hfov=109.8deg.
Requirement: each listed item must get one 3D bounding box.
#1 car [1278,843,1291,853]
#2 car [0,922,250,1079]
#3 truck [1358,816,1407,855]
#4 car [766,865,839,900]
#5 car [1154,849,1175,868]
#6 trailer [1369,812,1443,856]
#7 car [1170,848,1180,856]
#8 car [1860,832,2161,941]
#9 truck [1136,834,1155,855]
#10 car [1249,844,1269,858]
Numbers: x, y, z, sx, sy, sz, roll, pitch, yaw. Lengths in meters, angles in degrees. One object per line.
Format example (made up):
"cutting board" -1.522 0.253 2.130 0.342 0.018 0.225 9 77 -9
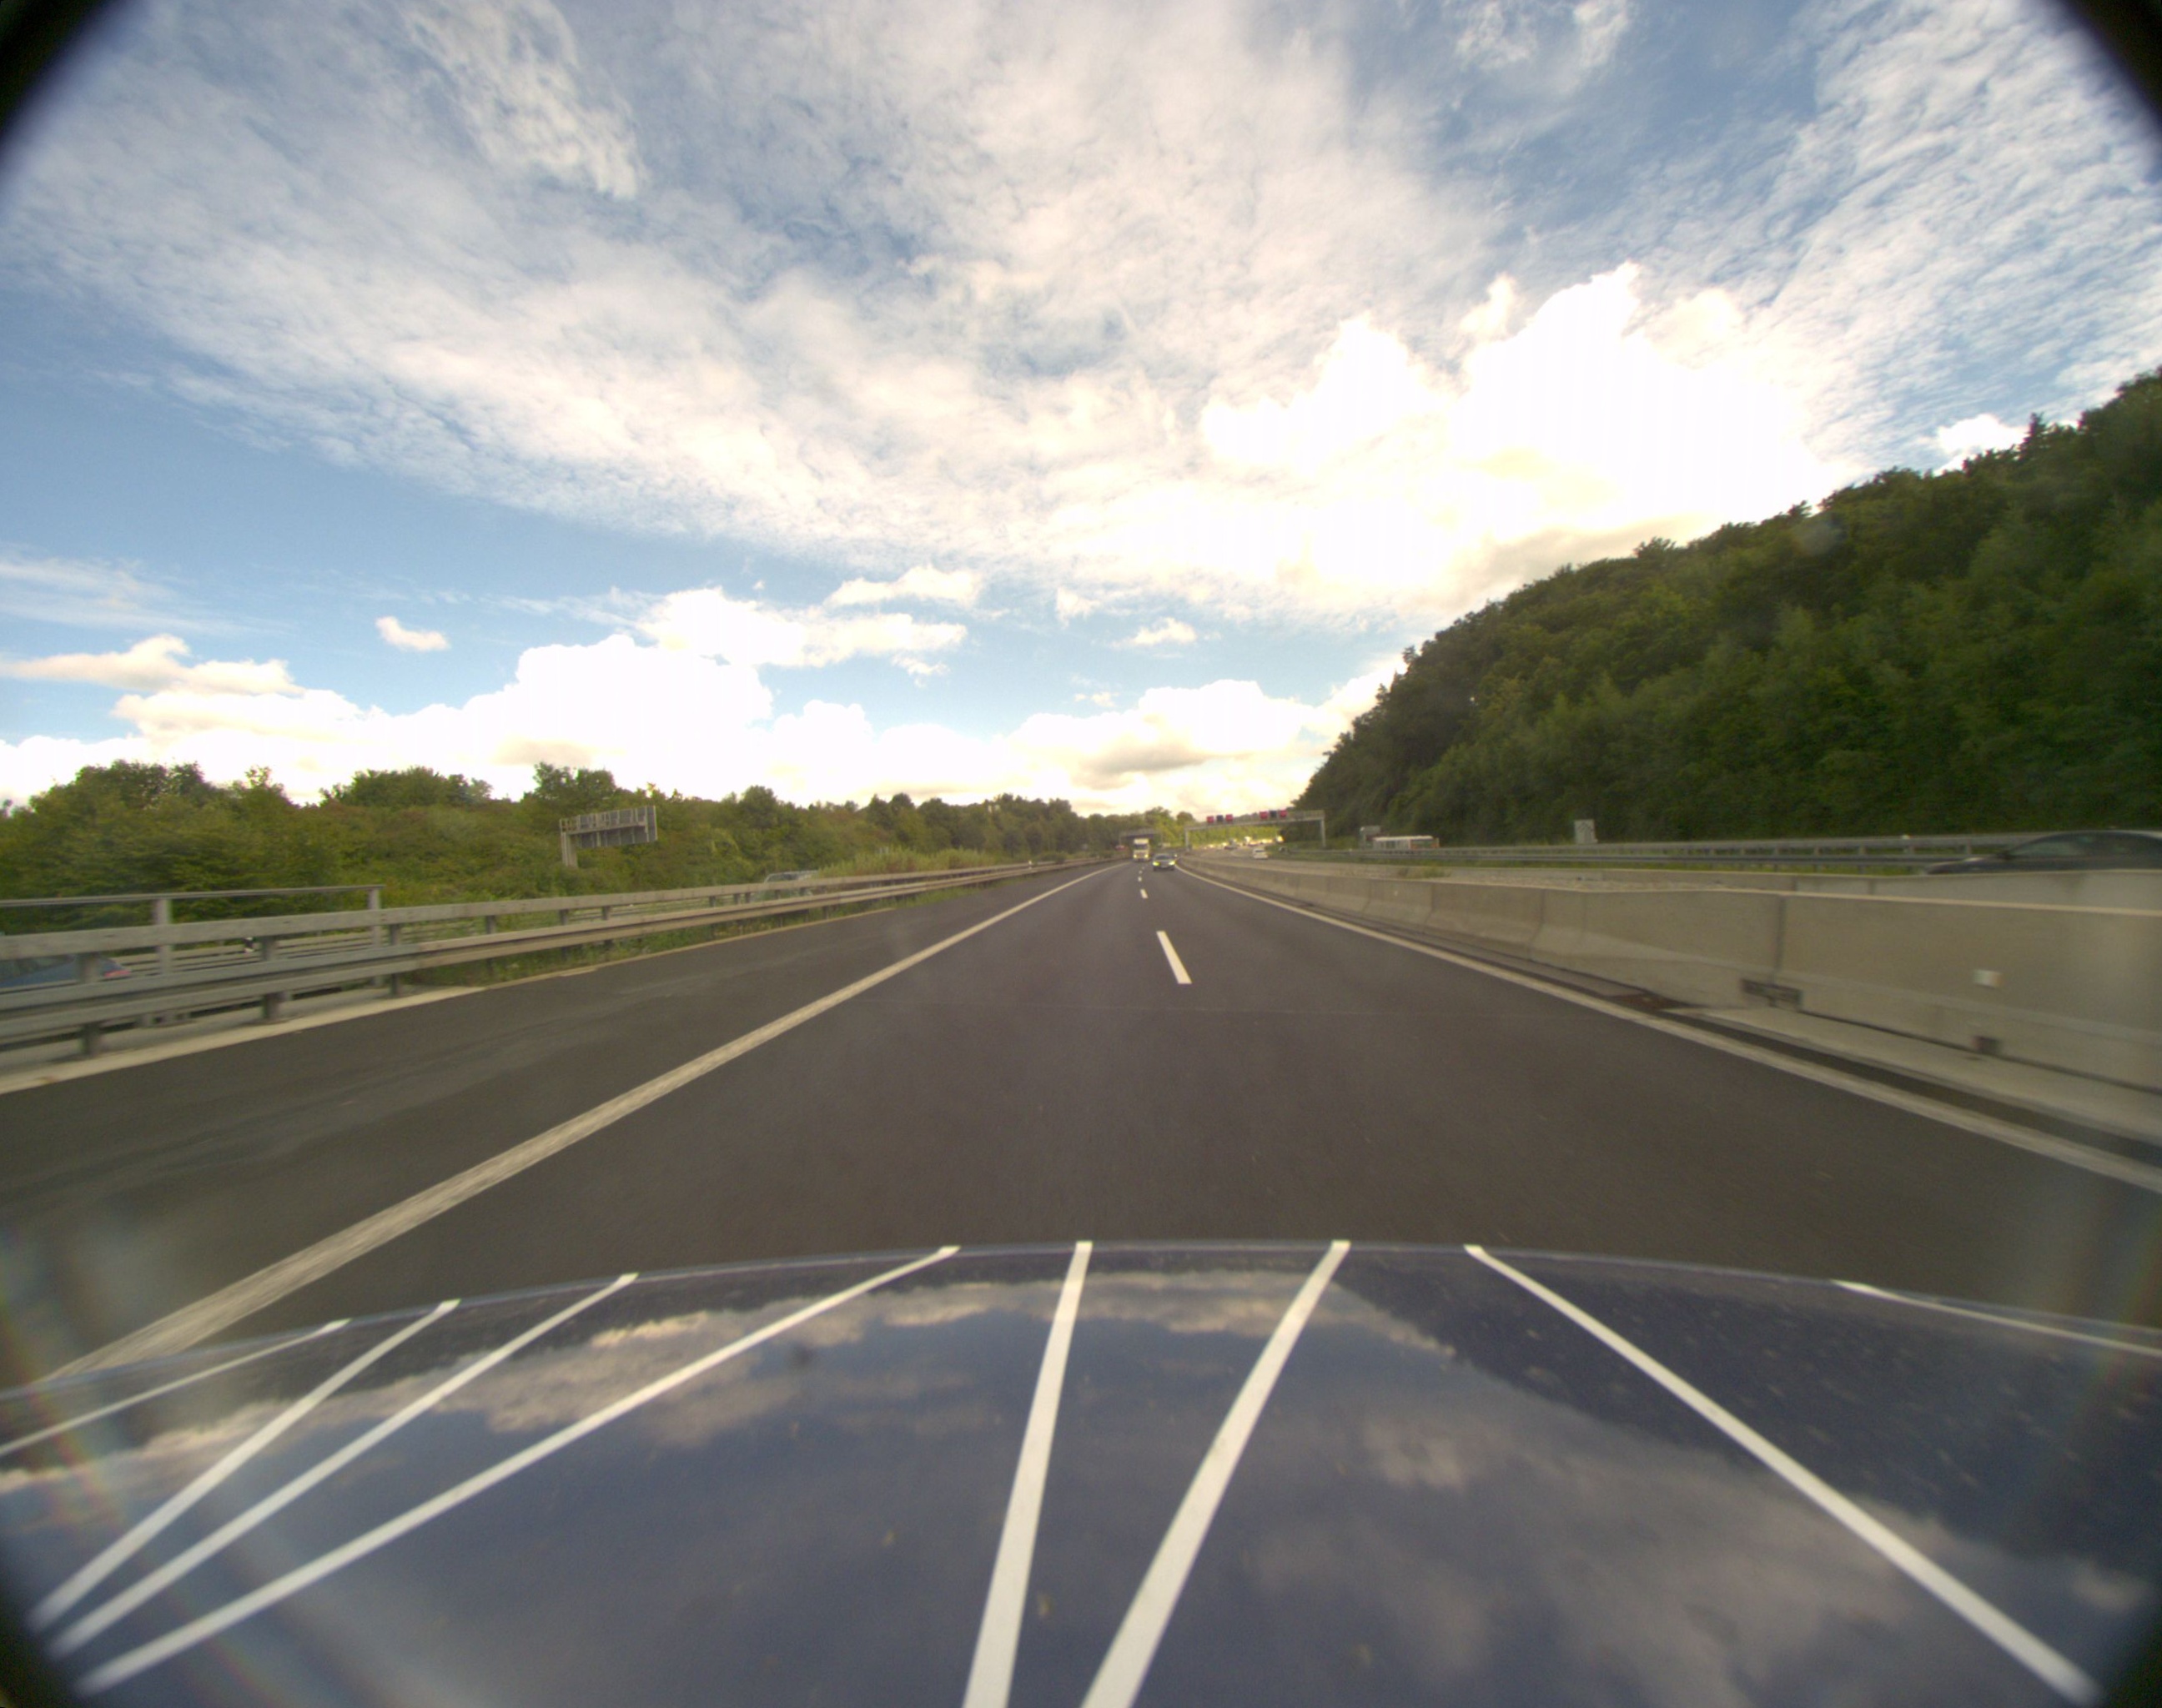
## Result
"car" 43.056 -1.329 160.782 1.998 2.002 4.002 -2 0 6
"car" -12.936 1.788 8.563 1.788 1.510 4.677 -2 0 3
"truck" 31.878 -1.888 80.689 2.816 3.804 7.131 -2 0 5
"car" -14.252 1.403 39.132 1.788 1.562 4.345 -2 0 5
"car" 7.451 0.377 67.439 1.661 1.464 4.002 -2 1 8
"trailer" 31.265 -1.788 73.765 2.819 3.784 12.192 -2 0 5
"car" 21.081 -0.457 170.107 1.997 1.464 4.003 -2 0 10
"car" 15.840 0.403 12.068 1.879 1.439 5.122 -2 1 3
"truck" 11.701 -1.783 138.031 2.795 3.562 11.461 -2 1 8
"car" 22.968 -0.400 97.945 1.716 1.519 4.767 -2 1 4
